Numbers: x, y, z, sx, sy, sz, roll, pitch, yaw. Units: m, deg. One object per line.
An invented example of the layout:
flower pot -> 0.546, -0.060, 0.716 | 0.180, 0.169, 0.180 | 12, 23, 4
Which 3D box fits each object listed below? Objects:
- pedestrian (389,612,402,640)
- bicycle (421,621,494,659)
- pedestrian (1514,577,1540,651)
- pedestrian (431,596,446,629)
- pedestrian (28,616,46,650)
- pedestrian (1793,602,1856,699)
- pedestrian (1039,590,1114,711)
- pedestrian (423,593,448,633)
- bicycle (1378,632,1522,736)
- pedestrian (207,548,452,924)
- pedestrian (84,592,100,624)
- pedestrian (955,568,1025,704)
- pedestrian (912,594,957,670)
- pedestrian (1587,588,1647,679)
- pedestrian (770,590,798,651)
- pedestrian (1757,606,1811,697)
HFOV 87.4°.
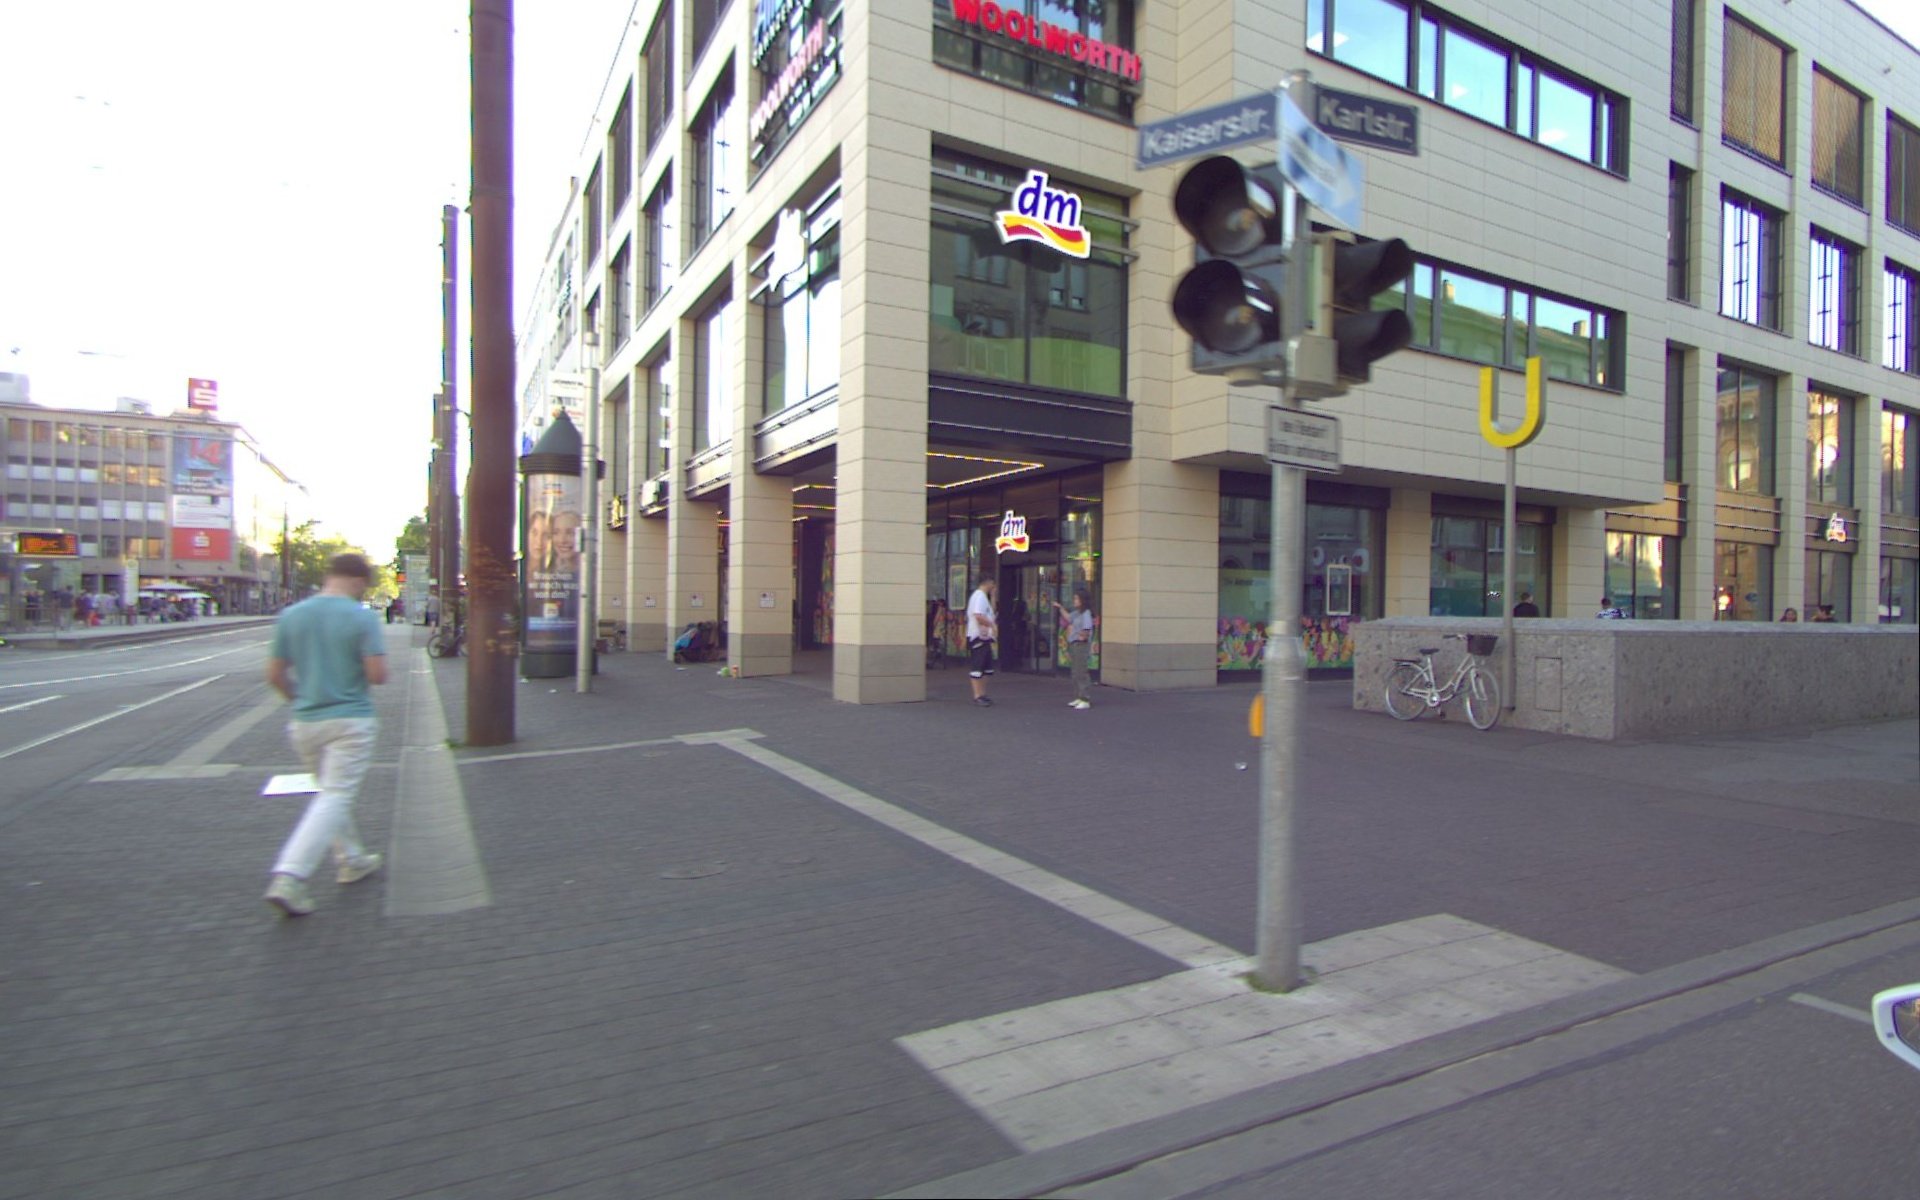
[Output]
pedestrian -> -33.699, 1.542, 59.931 | 0.642, 1.696, 0.526 | 0, 0, -28
bicycle -> -14.380, 1.144, 28.749 | 1.888, 0.999, 0.451 | 2, 1, 6
pedestrian -> 11.927, 0.296, 21.126 | 0.385, 1.535, 0.503 | 1, 0, 38
pedestrian -> -27.156, 0.654, 52.272 | 0.676, 1.658, 0.581 | 1, 0, -28
pedestrian -> -36.561, 1.293, 39.780 | 0.447, 1.317, 0.425 | 1, 2, -34
pedestrian -> 15.712, 0.908, 18.254 | 0.593, 1.703, 0.677 | 1, 1, -32
pedestrian -> 1.658, 0.713, 14.443 | 0.803, 1.682, 0.766 | 1, 1, -15
pedestrian -> -22.240, 0.560, 42.635 | 0.889, 1.658, 0.946 | 1, 0, -26
bicycle -> 6.125, 1.011, 12.650 | 0.445, 1.137, 1.690 | 1, 1, -26
pedestrian -> -3.223, 0.649, 5.223 | 0.854, 1.784, 0.765 | 1, 1, -14
pedestrian -> -36.872, 0.328, 42.655 | 0.447, 1.338, 0.425 | 1, 2, -34
pedestrian -> 0.416, 0.503, 14.233 | 0.803, 1.879, 0.572 | 1, 1, -17
pedestrian -> -0.544, 0.669, 21.015 | 0.778, 1.547, 0.572 | 1, 1, -17
pedestrian -> 13.274, 0.662, 20.299 | 0.593, 1.774, 0.777 | 1, 1, -32
pedestrian -> -5.004, 0.581, 28.480 | 0.567, 1.703, 0.671 | 1, 1, -28
pedestrian -> 15.516, 0.958, 18.913 | 0.540, 1.668, 0.596 | 1, 1, -32
